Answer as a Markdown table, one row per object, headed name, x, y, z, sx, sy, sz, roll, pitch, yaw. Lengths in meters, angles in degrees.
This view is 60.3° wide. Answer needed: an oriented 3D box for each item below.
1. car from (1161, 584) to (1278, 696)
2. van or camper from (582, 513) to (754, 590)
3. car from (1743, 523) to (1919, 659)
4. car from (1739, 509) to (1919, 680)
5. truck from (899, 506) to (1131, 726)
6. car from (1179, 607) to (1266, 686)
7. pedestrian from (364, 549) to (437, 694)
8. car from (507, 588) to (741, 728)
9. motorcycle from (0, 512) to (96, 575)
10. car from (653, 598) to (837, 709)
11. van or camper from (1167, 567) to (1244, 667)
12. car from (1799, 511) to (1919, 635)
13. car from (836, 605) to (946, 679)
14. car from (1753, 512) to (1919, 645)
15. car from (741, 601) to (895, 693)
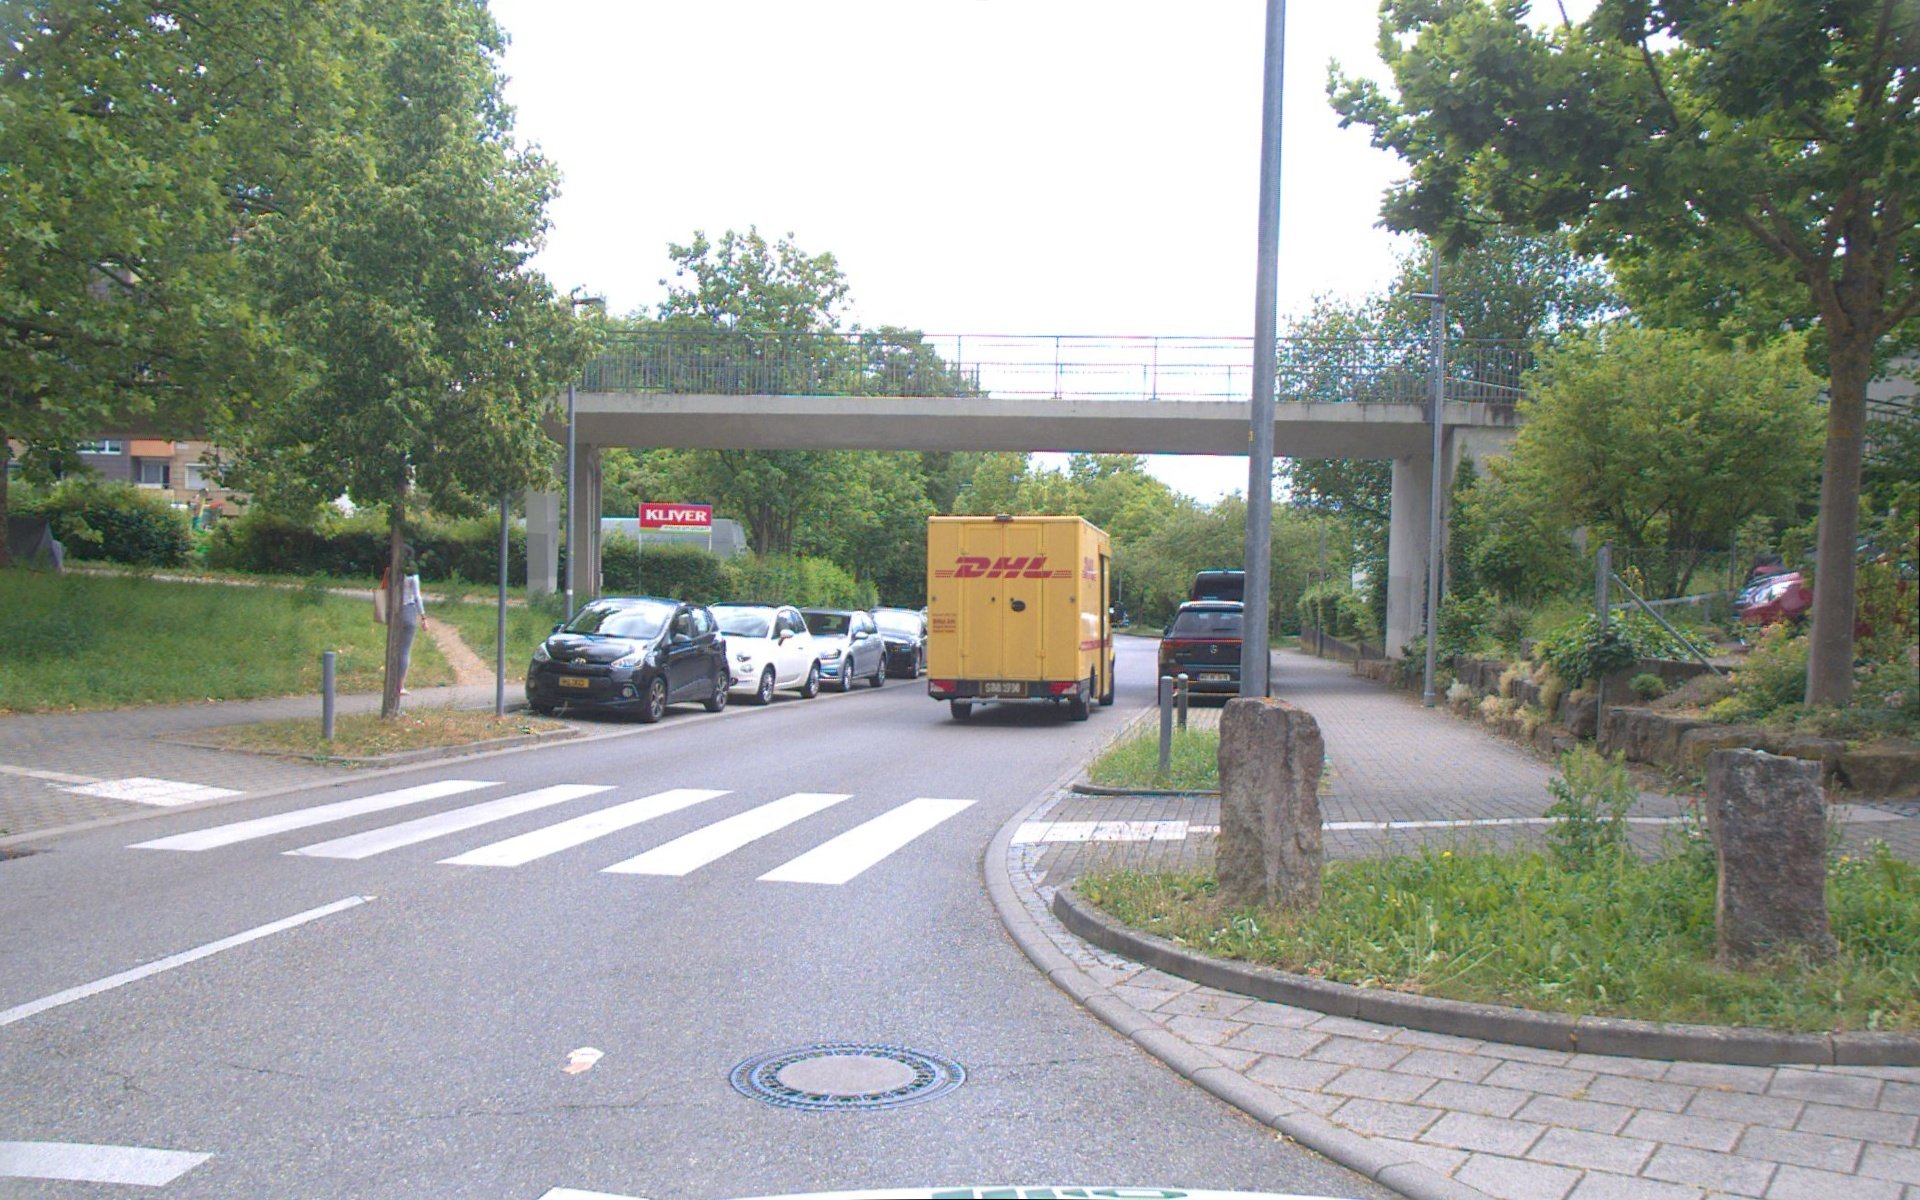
| name | x | y | z | sx | sy | sz | roll | pitch | yaw |
| --- | --- | --- | --- | --- | --- | --- | --- | --- | --- |
| car | 4.344 | 0.745 | 27.908 | 1.775 | 1.708 | 4.372 | 1 | -3 | 8 |
| van or camper | -8.885 | -1.475 | 50.522 | 4.752 | 2.122 | 2.001 | 2 | 1 | 5 |
| car | 11.389 | -0.094 | 19.638 | 3.584 | 1.524 | 1.680 | 3 | 1 | 32 |
| car | 9.095 | -0.023 | 14.870 | 3.584 | 1.464 | 1.680 | 3 | 1 | 32 |
| truck | 1.039 | 0.209 | 24.673 | 2.413 | 2.749 | 6.830 | 2 | 0 | 10 |
| car | 5.490 | 0.927 | 34.601 | 1.663 | 1.523 | 4.122 | 1 | 0 | 9 |
| pedestrian | -6.964 | 0.258 | 20.605 | 0.724 | 1.751 | 0.658 | 2 | 1 | -10 |
| car | -4.280 | 0.672 | 21.737 | 1.749 | 1.493 | 4.003 | 4 | 1 | 7 |
| motorcycle | -19.695 | -1.203 | 35.348 | 0.866 | 1.292 | 2.044 | 2 | 1 | 27 |
| car | -3.302 | 0.779 | 26.082 | 1.844 | 1.485 | 3.550 | 2 | 1 | 10 |
| van or camper | 6.796 | 0.484 | 45.567 | 1.951 | 2.567 | 5.475 | -1 | -1 | 9 |
| car | 14.377 | -0.333 | 23.272 | 4.459 | 1.697 | 1.941 | 3 | 1 | 30 |
| car | -1.520 | 0.913 | 38.071 | 1.845 | 1.535 | 4.455 | 2 | 0 | 6 |
| car | 12.604 | -0.249 | 21.592 | 3.913 | 1.641 | 1.941 | 3 | 1 | 30 |
| car | -2.570 | 0.821 | 30.931 | 1.844 | 1.452 | 4.004 | 2 | 1 | 10 |
